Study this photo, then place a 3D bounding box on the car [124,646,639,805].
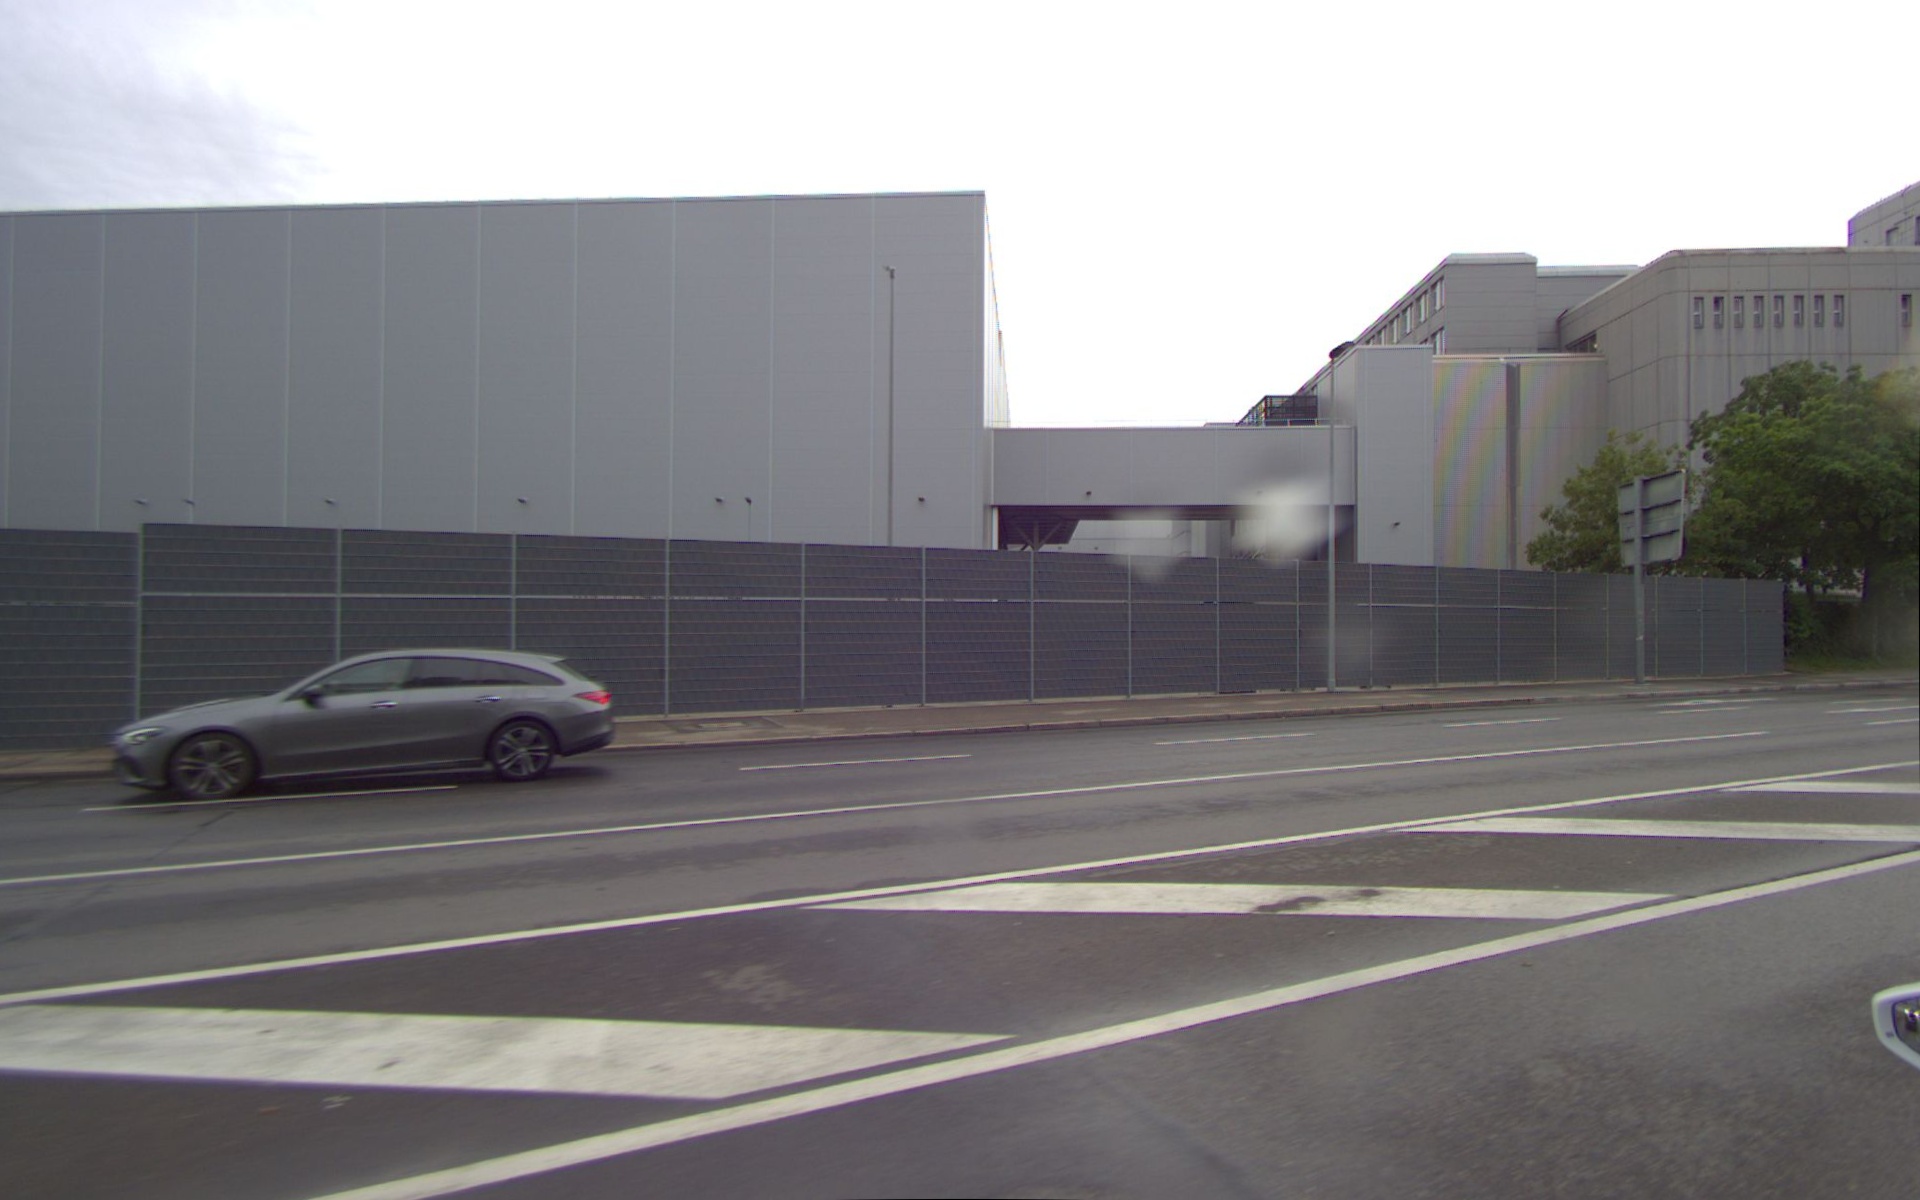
[{"bbox_3d":[-5.950,1.237,10.930,4.486,1.403,1.777,1,-4,-27],"label":"car"}]
